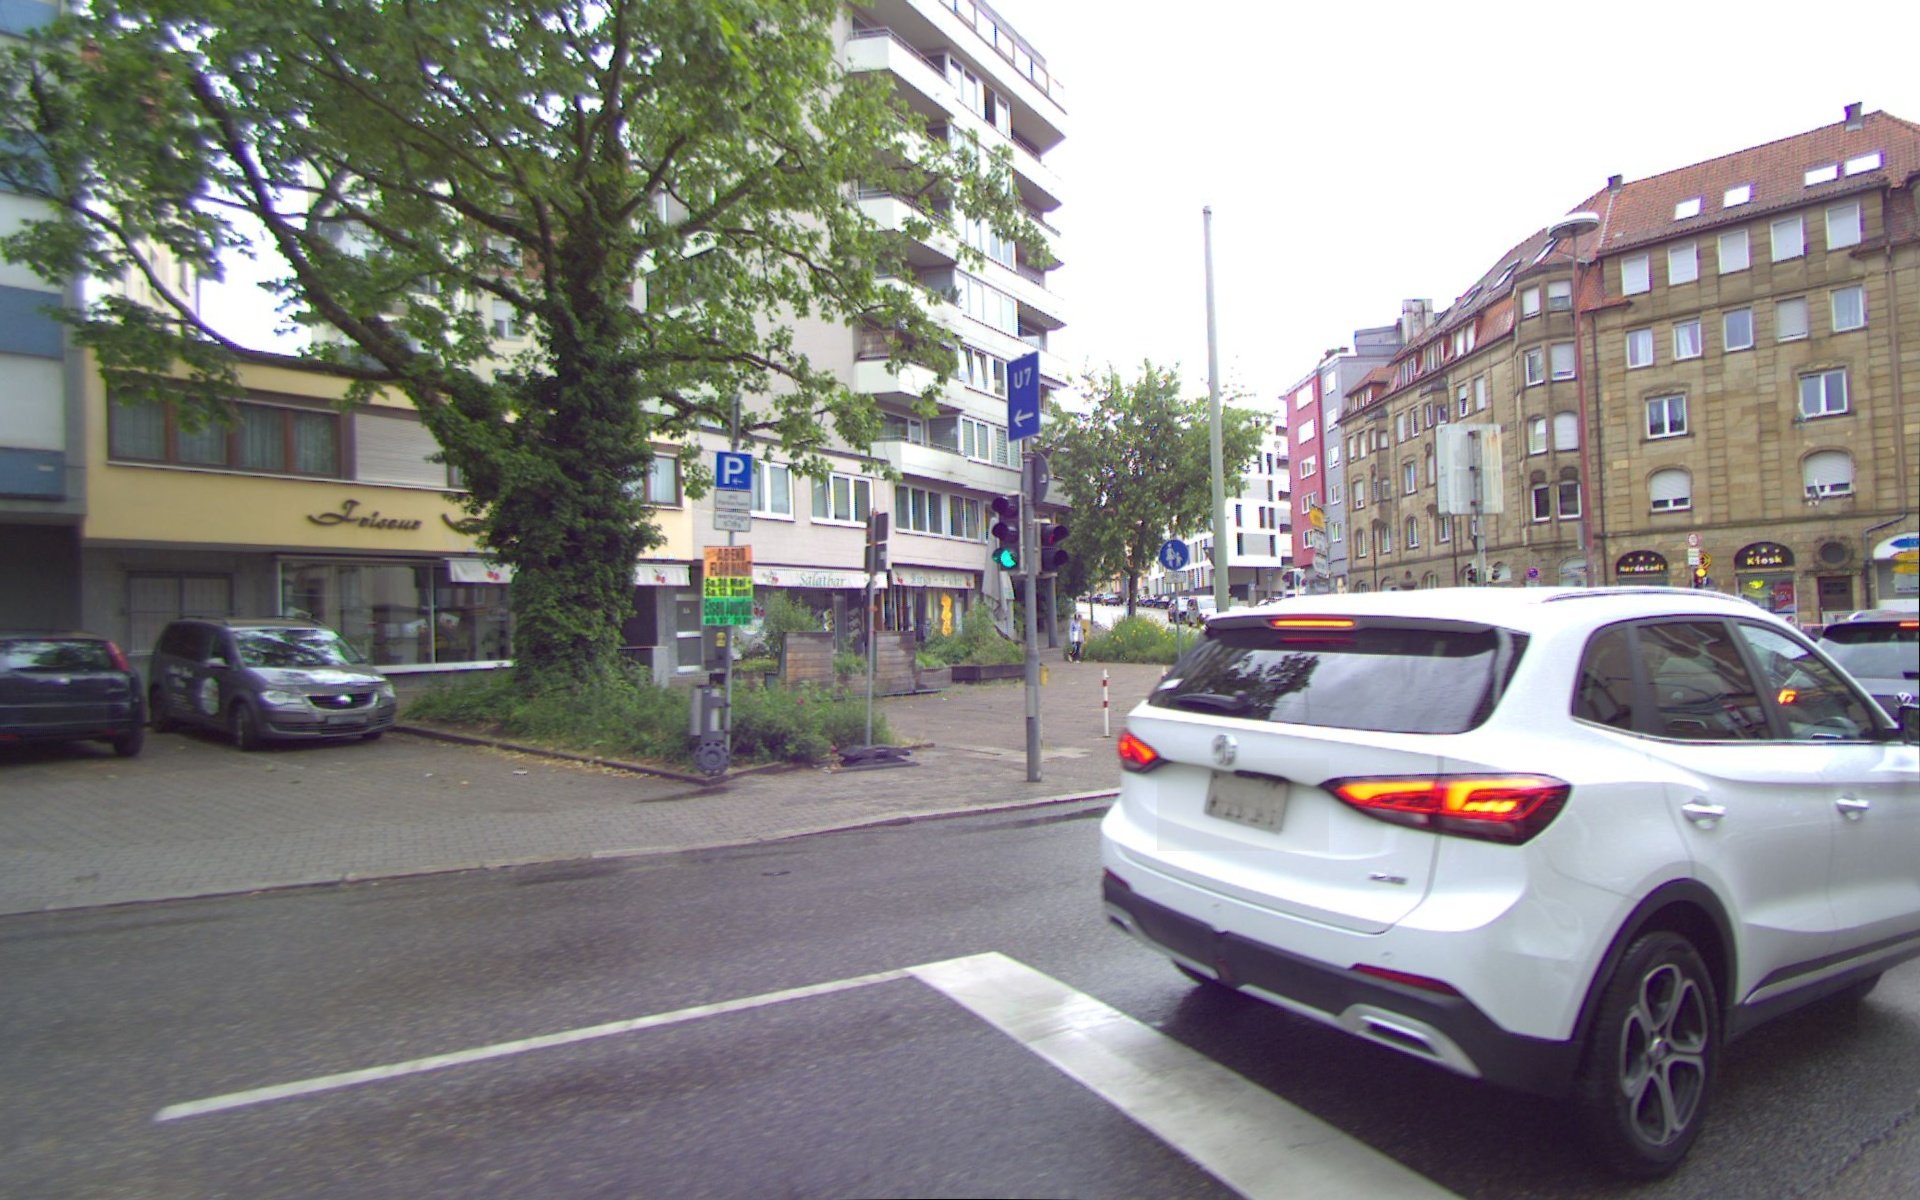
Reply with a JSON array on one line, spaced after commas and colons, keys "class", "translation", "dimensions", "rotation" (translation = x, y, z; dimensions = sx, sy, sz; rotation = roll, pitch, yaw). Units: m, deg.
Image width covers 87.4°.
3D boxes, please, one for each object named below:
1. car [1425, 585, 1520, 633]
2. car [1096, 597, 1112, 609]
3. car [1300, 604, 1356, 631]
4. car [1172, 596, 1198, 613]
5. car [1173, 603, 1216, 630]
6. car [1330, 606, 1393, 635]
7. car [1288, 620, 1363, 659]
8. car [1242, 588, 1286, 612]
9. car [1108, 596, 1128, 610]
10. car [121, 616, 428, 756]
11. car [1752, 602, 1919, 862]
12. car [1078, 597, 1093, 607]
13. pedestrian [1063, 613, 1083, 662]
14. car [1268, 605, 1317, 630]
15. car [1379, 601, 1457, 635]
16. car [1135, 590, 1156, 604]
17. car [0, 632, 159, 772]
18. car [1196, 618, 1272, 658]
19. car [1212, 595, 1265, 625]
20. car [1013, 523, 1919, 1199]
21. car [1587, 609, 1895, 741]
[{"class": "car", "translation": [24.683, 0.440, 48.597], "dimensions": [1.961, 2.197, 4.802], "rotation": [0, -1, -3]}, {"class": "car", "translation": [21.577, 0.515, 150.722], "dimensions": [1.665, 1.727, 4.214], "rotation": [0, -1, -3]}, {"class": "car", "translation": [24.102, 1.163, 66.017], "dimensions": [1.961, 1.727, 4.214], "rotation": [0, -1, -3]}, {"class": "car", "translation": [24.041, 0.470, 107.294], "dimensions": [1.665, 1.727, 4.214], "rotation": [0, -1, -3]}, {"class": "car", "translation": [14.788, 1.054, 63.435], "dimensions": [1.704, 1.558, 4.155], "rotation": [1, -1, 0]}, {"class": "car", "translation": [24.206, 1.228, 60.774], "dimensions": [1.961, 1.727, 4.214], "rotation": [0, -1, -3]}, {"class": "car", "translation": [15.599, 1.638, 43.078], "dimensions": [1.732, 1.511, 4.024], "rotation": [-2, -1, 0]}, {"class": "car", "translation": [23.516, 0.028, 77.778], "dimensions": [1.961, 1.727, 4.214], "rotation": [0, -1, -3]}, {"class": "car", "translation": [19.769, 0.410, 125.744], "dimensions": [1.665, 1.727, 4.214], "rotation": [0, -1, -3]}, {"class": "car", "translation": [-9.627, 1.090, 14.072], "dimensions": [4.141, 1.664, 1.938], "rotation": [0, -2, 30]}, {"class": "car", "translation": [8.054, 0.864, 7.733], "dimensions": [4.164, 1.666, 1.743], "rotation": [-1, 0, -31]}, {"class": "car", "translation": [20.946, 0.355, 167.612], "dimensions": [1.665, 1.727, 4.214], "rotation": [0, -1, -3]}, {"class": "pedestrian", "translation": [3.974, 1.315, 35.279], "dimensions": [0.612, 1.715, 0.620], "rotation": [0, 0, 18]}, {"class": "car", "translation": [23.910, 1.244, 72.326], "dimensions": [1.961, 1.727, 4.214], "rotation": [0, -1, -3]}, {"class": "car", "translation": [24.364, 0.932, 53.601], "dimensions": [1.961, 1.727, 4.380], "rotation": [0, -1, -3]}, {"class": "car", "translation": [23.227, -0.390, 125.803], "dimensions": [1.665, 1.727, 4.214], "rotation": [0, -1, -3]}, {"class": "car", "translation": [-11.454, 1.127, 12.096], "dimensions": [3.557, 1.434, 1.628], "rotation": [0, -2, 30]}, {"class": "car", "translation": [11.079, 1.512, 40.865], "dimensions": [1.876, 1.511, 4.393], "rotation": [0, -1, 0]}, {"class": "car", "translation": [15.562, 0.560, 56.347], "dimensions": [1.704, 1.558, 4.302], "rotation": [-2, -1, 0]}, {"class": "car", "translation": [2.477, 0.740, 3.994], "dimensions": [4.331, 1.666, 1.742], "rotation": [2, -2, -32]}, {"class": "car", "translation": [10.430, 0.996, 13.419], "dimensions": [3.634, 1.515, 1.710], "rotation": [0, -7, -26]}]
